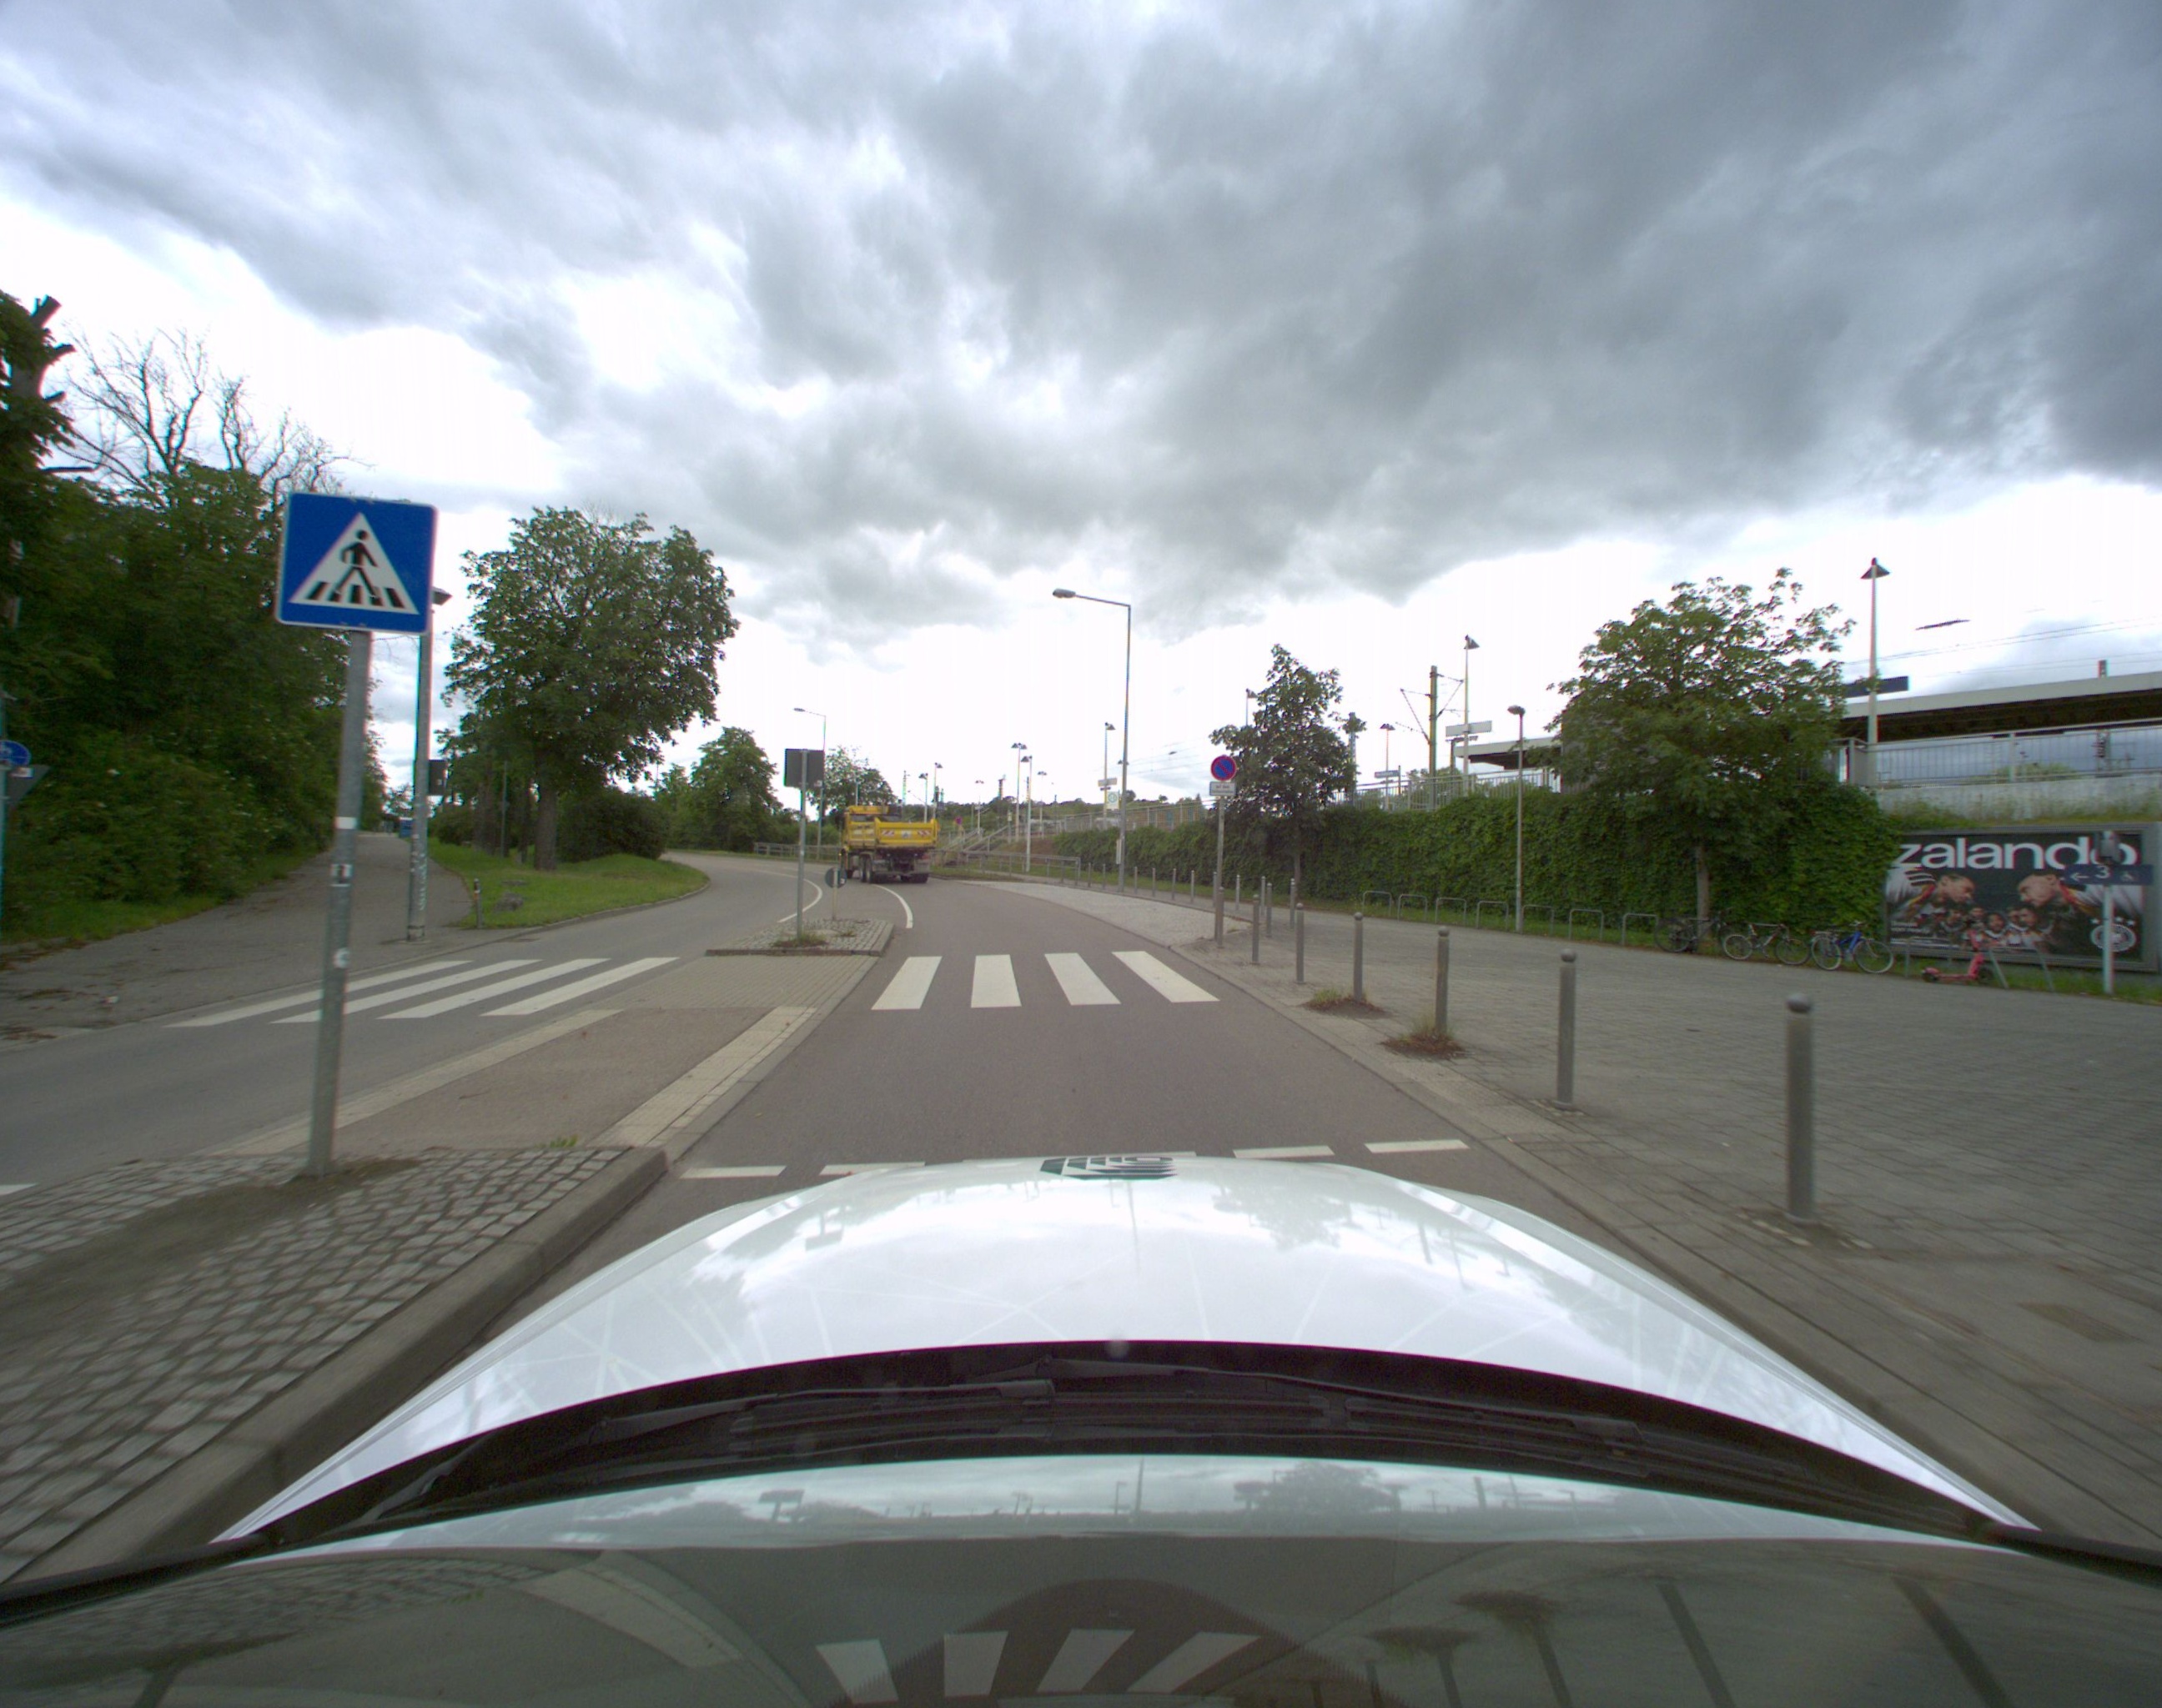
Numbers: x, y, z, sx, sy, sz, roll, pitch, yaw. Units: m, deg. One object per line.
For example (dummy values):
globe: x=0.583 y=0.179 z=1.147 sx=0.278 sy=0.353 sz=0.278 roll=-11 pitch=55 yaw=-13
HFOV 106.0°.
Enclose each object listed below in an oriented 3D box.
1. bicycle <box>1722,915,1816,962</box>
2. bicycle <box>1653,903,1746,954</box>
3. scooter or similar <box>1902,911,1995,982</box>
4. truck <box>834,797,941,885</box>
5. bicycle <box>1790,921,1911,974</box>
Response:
bicycle: x=14.777 y=1.813 z=17.507 sx=1.569 sy=0.854 sz=0.464 roll=4 pitch=0 yaw=1
bicycle: x=13.849 y=1.655 z=18.267 sx=1.476 sy=0.989 sz=0.697 roll=3 pitch=0 yaw=16
scooter or similar: x=16.201 y=1.721 z=15.223 sx=1.183 sy=1.206 sz=0.468 roll=3 pitch=-1 yaw=1
truck: x=-8.857 y=-0.644 z=36.524 sx=2.780 sy=3.483 sz=8.057 roll=0 pitch=2 yaw=-27
bicycle: x=15.487 y=1.868 z=16.405 sx=1.960 sy=0.865 sz=0.510 roll=4 pitch=0 yaw=-2
